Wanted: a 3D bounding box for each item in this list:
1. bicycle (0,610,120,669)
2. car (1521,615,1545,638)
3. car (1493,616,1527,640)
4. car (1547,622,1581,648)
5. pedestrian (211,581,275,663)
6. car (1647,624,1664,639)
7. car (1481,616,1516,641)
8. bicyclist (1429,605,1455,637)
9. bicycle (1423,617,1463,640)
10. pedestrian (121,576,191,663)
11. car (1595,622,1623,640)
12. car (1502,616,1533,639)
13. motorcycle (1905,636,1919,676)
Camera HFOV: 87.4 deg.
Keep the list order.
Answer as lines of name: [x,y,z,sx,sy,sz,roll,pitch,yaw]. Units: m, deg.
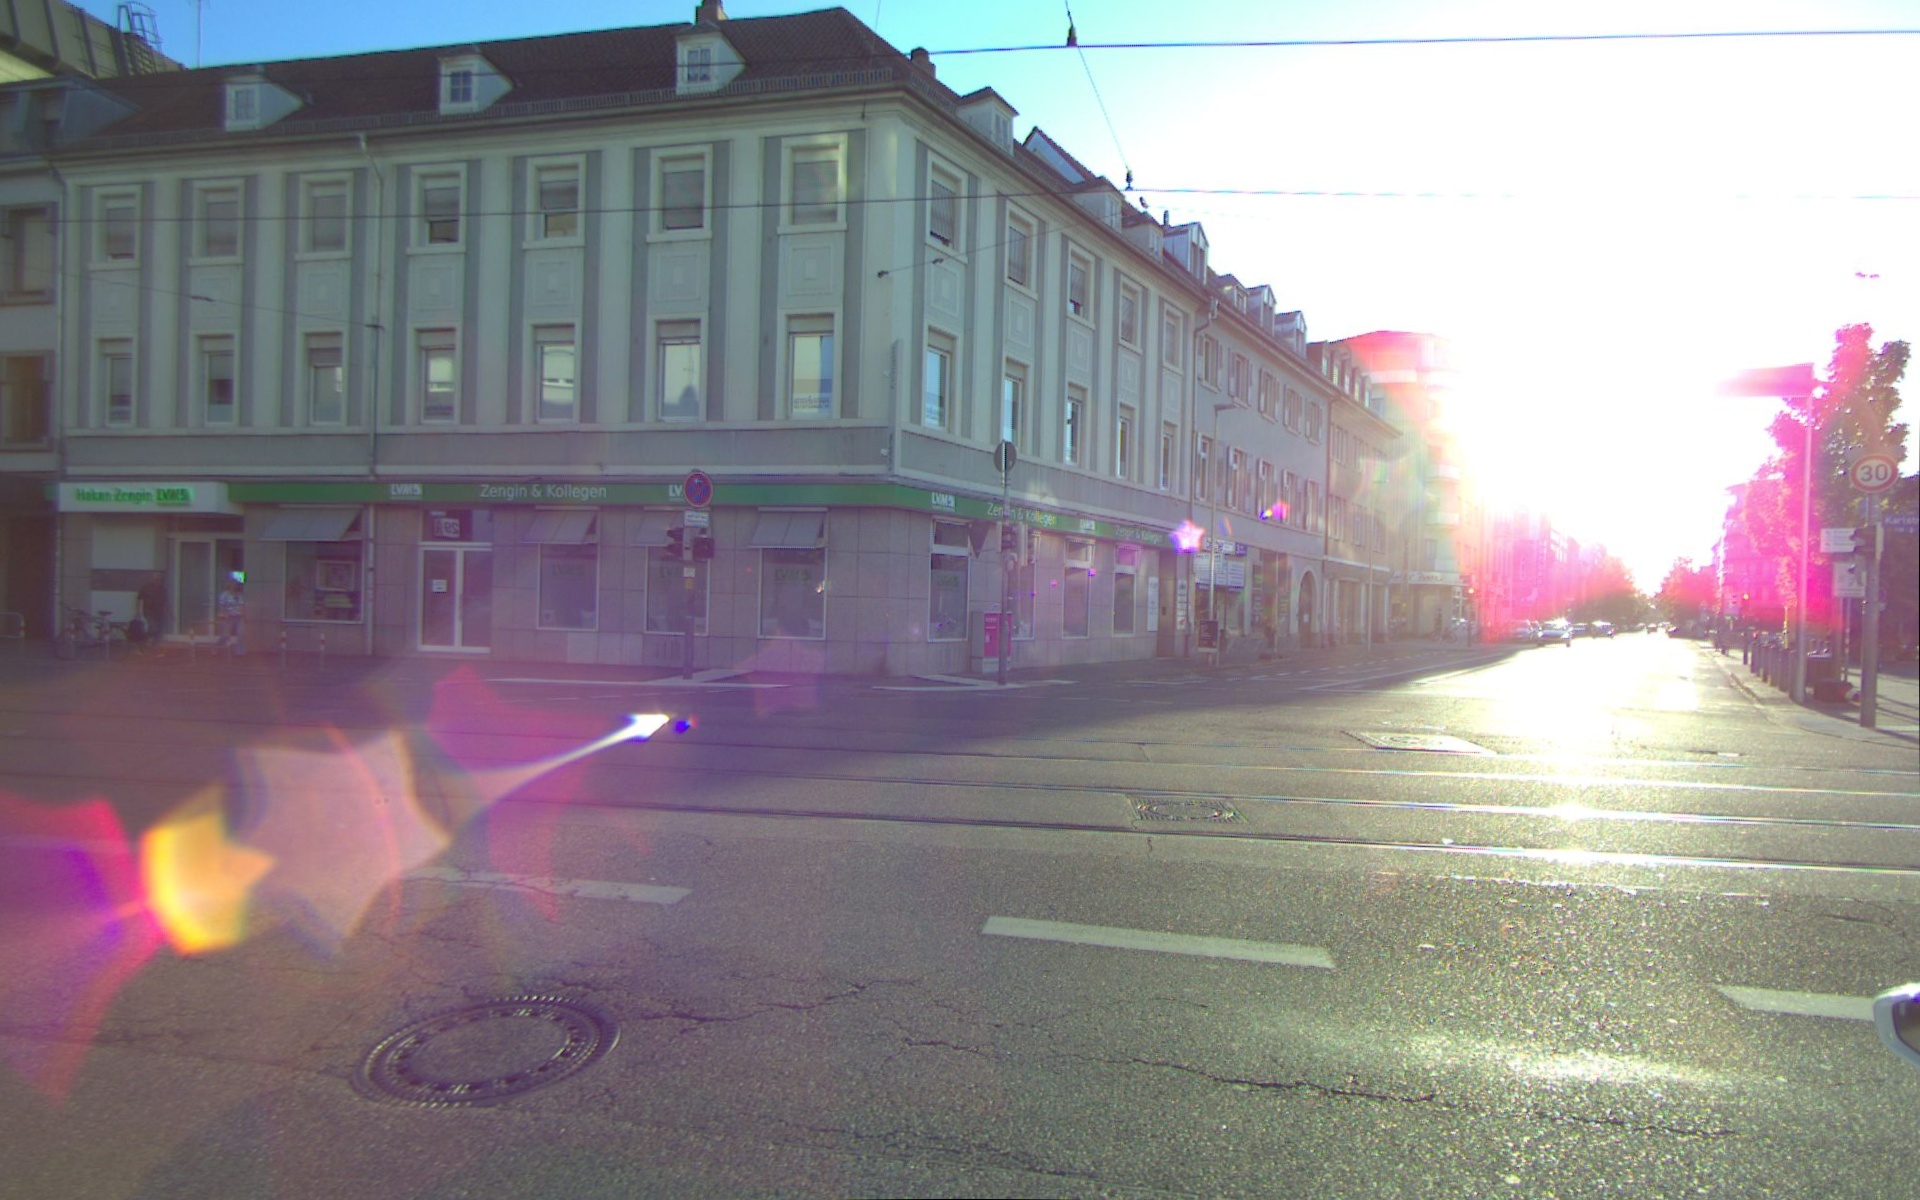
bicycle: [-17.396,0.733,19.426,0.489,1.073,1.742,2,0,21]
car: [42.937,1.998,75.256,1.289,1.603,2.879,2,-1,35]
car: [36.074,1.822,65.856,1.524,1.488,3.341,2,-1,35]
car: [36.181,2.082,60.144,1.524,1.487,3.341,2,-1,35]
pedestrian: [-15.021,0.439,21.047,0.799,1.662,0.826,1,1,29]
car: [102.403,4.643,147.931,1.967,2.040,3.987,3,0,35]
car: [33.815,1.749,63.014,1.524,1.503,3.341,0,-1,35]
bicyclist: [28.659,1.234,59.733,0.757,1.814,1.121,3,0,-36]
bicycle: [28.687,1.692,59.660,0.495,1.220,2.103,3,0,-36]
pedestrian: [-16.773,0.390,20.965,0.797,1.751,0.828,1,1,12]
car: [64.780,3.120,100.244,1.968,1.706,3.984,1,-1,38]
car: [38.854,1.930,69.970,1.524,1.488,3.341,2,-1,35]
motorcycle: [29.847,1.715,30.091,2.209,1.217,0.716,1,0,42]
